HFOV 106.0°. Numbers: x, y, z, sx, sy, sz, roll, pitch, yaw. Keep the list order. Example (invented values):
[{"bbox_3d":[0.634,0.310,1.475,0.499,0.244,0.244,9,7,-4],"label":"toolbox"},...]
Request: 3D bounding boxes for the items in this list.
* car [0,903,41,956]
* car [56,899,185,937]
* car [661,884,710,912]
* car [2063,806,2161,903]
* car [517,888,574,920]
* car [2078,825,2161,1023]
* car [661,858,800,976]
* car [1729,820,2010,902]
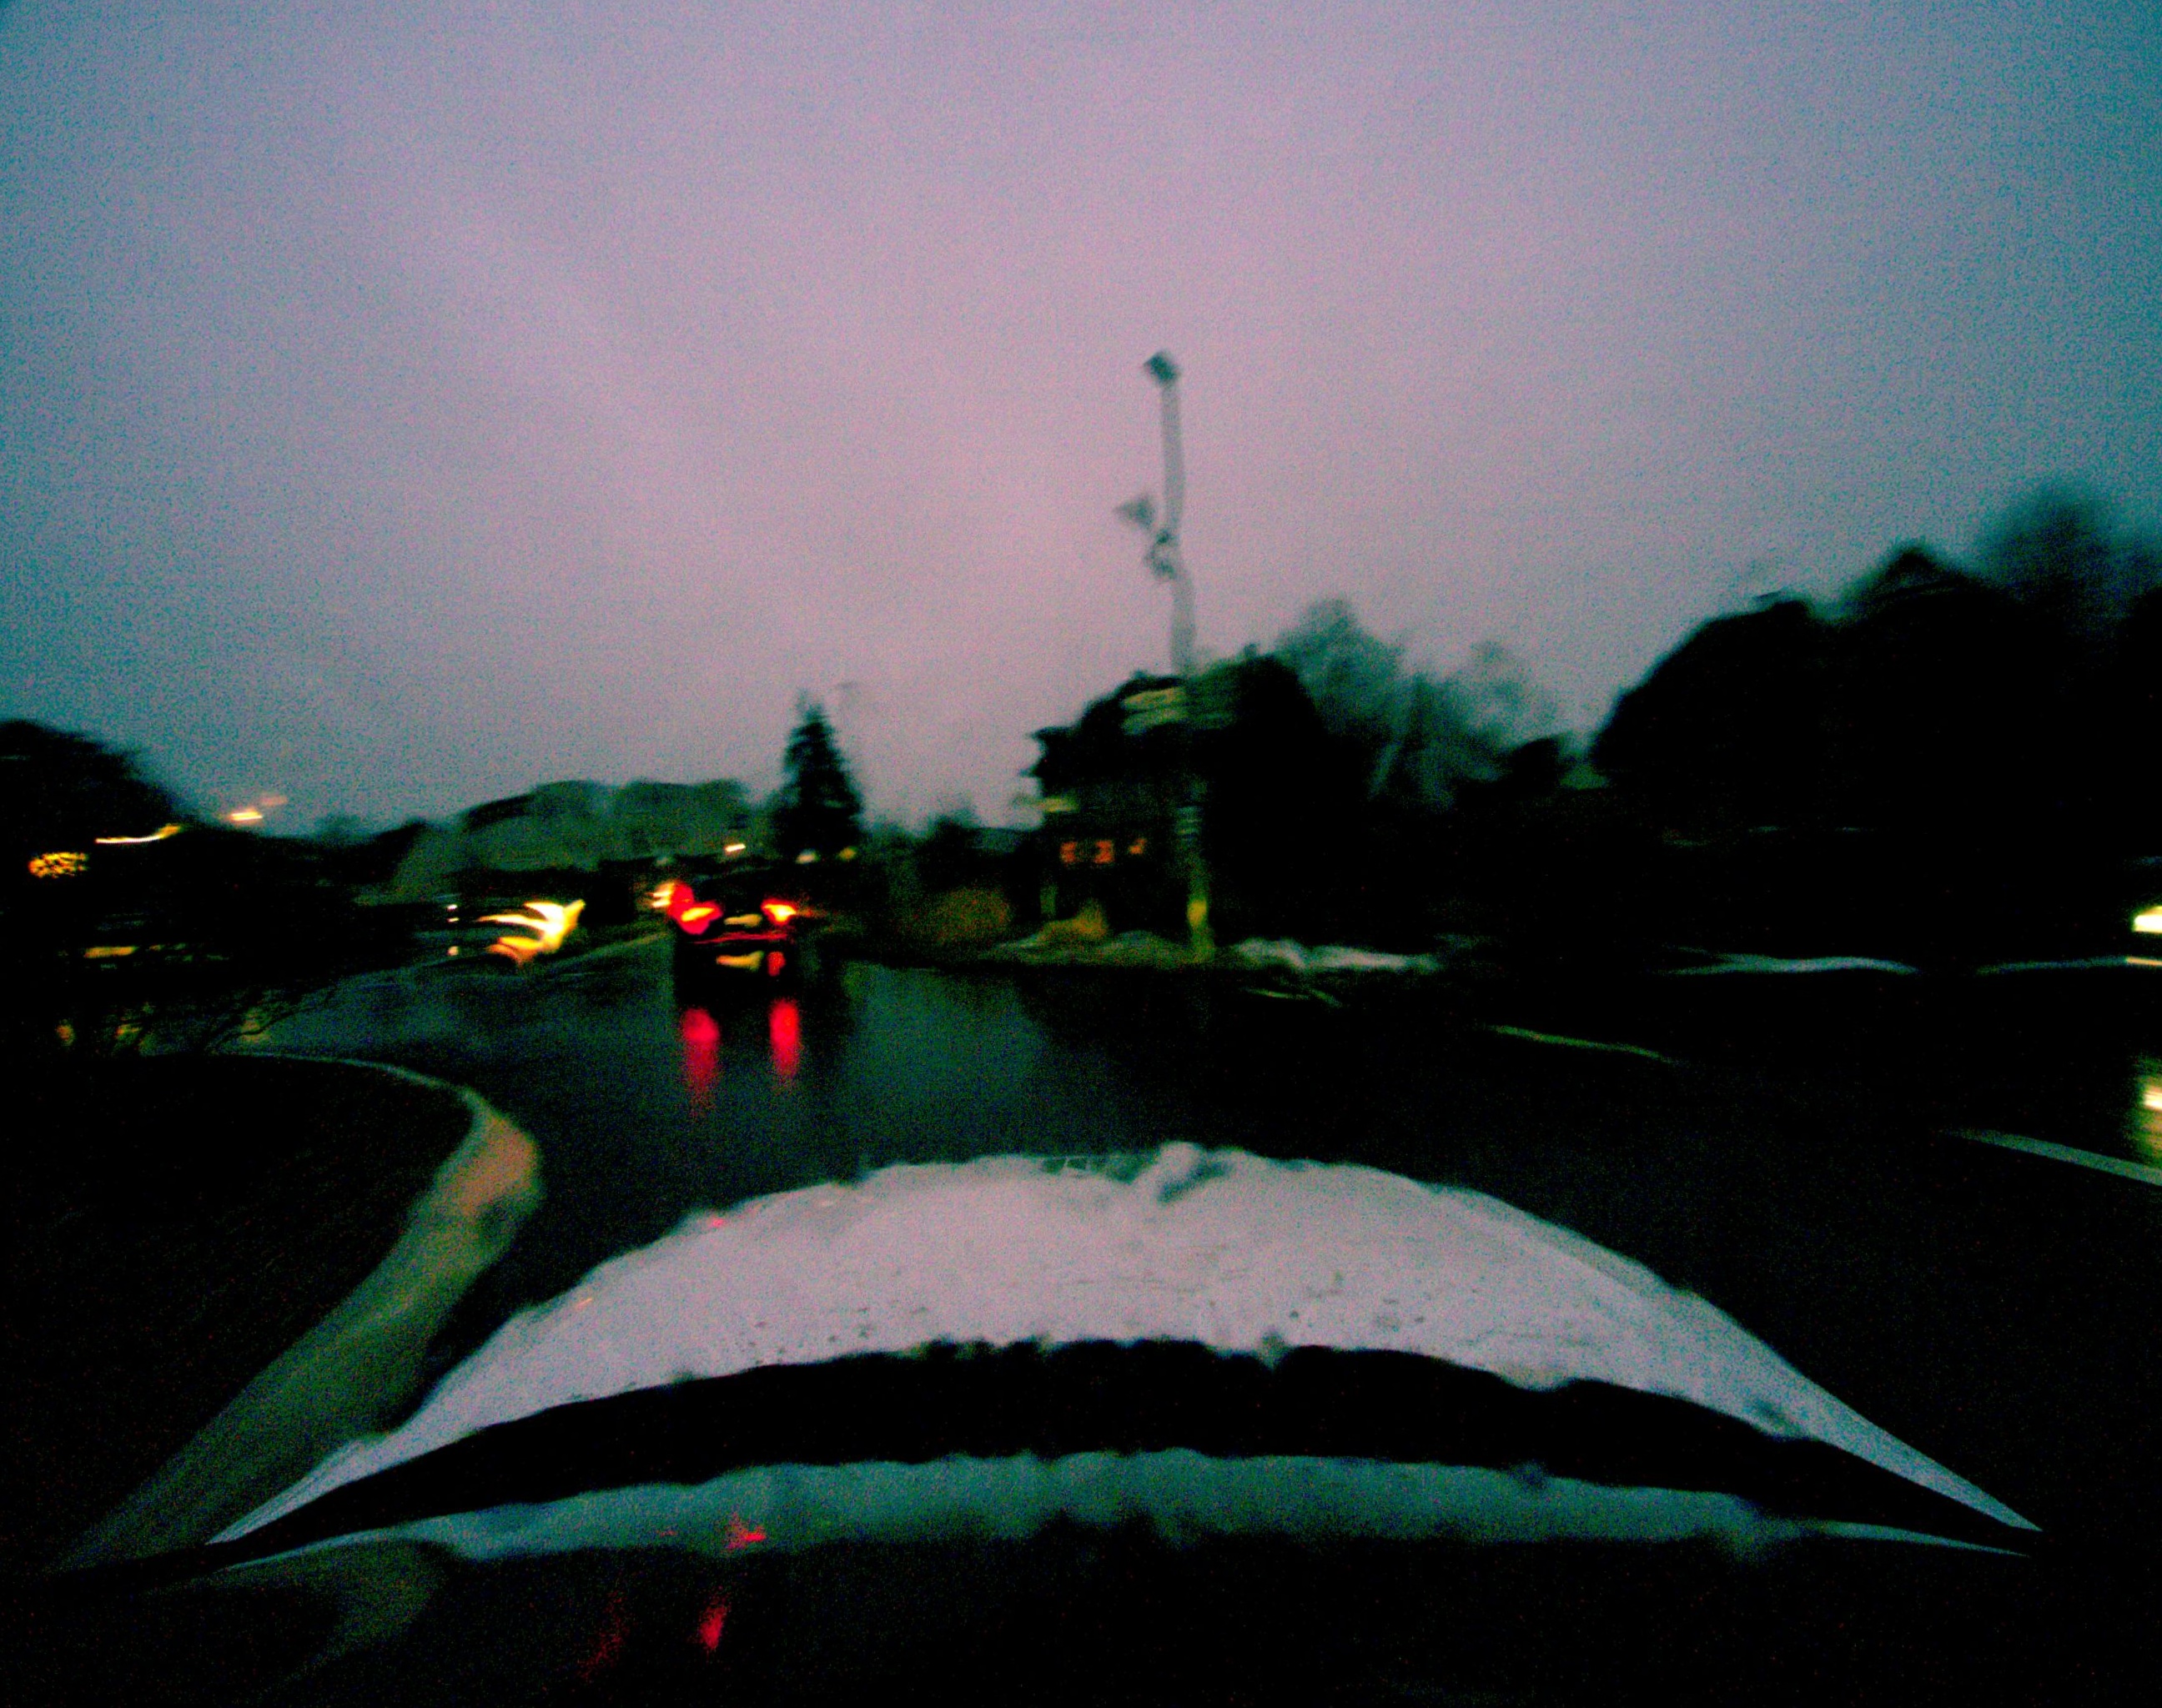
[{"bbox_3d":[-46.256,3.182,32.540,2.013,2.134,5.441,-2,-2,13],"label":"car"},{"bbox_3d":[-54.847,3.628,46.621,1.687,1.747,4.376,-3,0,17],"label":"car"},{"bbox_3d":[-25.672,2.890,52.808,1.898,1.548,4.518,-3,-2,-38],"label":"car"},{"bbox_3d":[23.283,-0.037,15.722,5.180,1.919,1.951,-2,-1,40],"label":"car"},{"bbox_3d":[-37.844,3.481,57.505,4.512,2.060,2.184,-3,0,41],"label":"car"},{"bbox_3d":[9.903,0.476,5.601,3.678,1.492,1.666,-1,-1,8],"label":"car"},{"bbox_3d":[-6.431,1.015,14.776,1.955,1.718,3.965,-3,0,-26],"label":"car"},{"bbox_3d":[21.359,0.229,22.529,5.262,1.865,2.383,-5,0,38],"label":"car"}]
